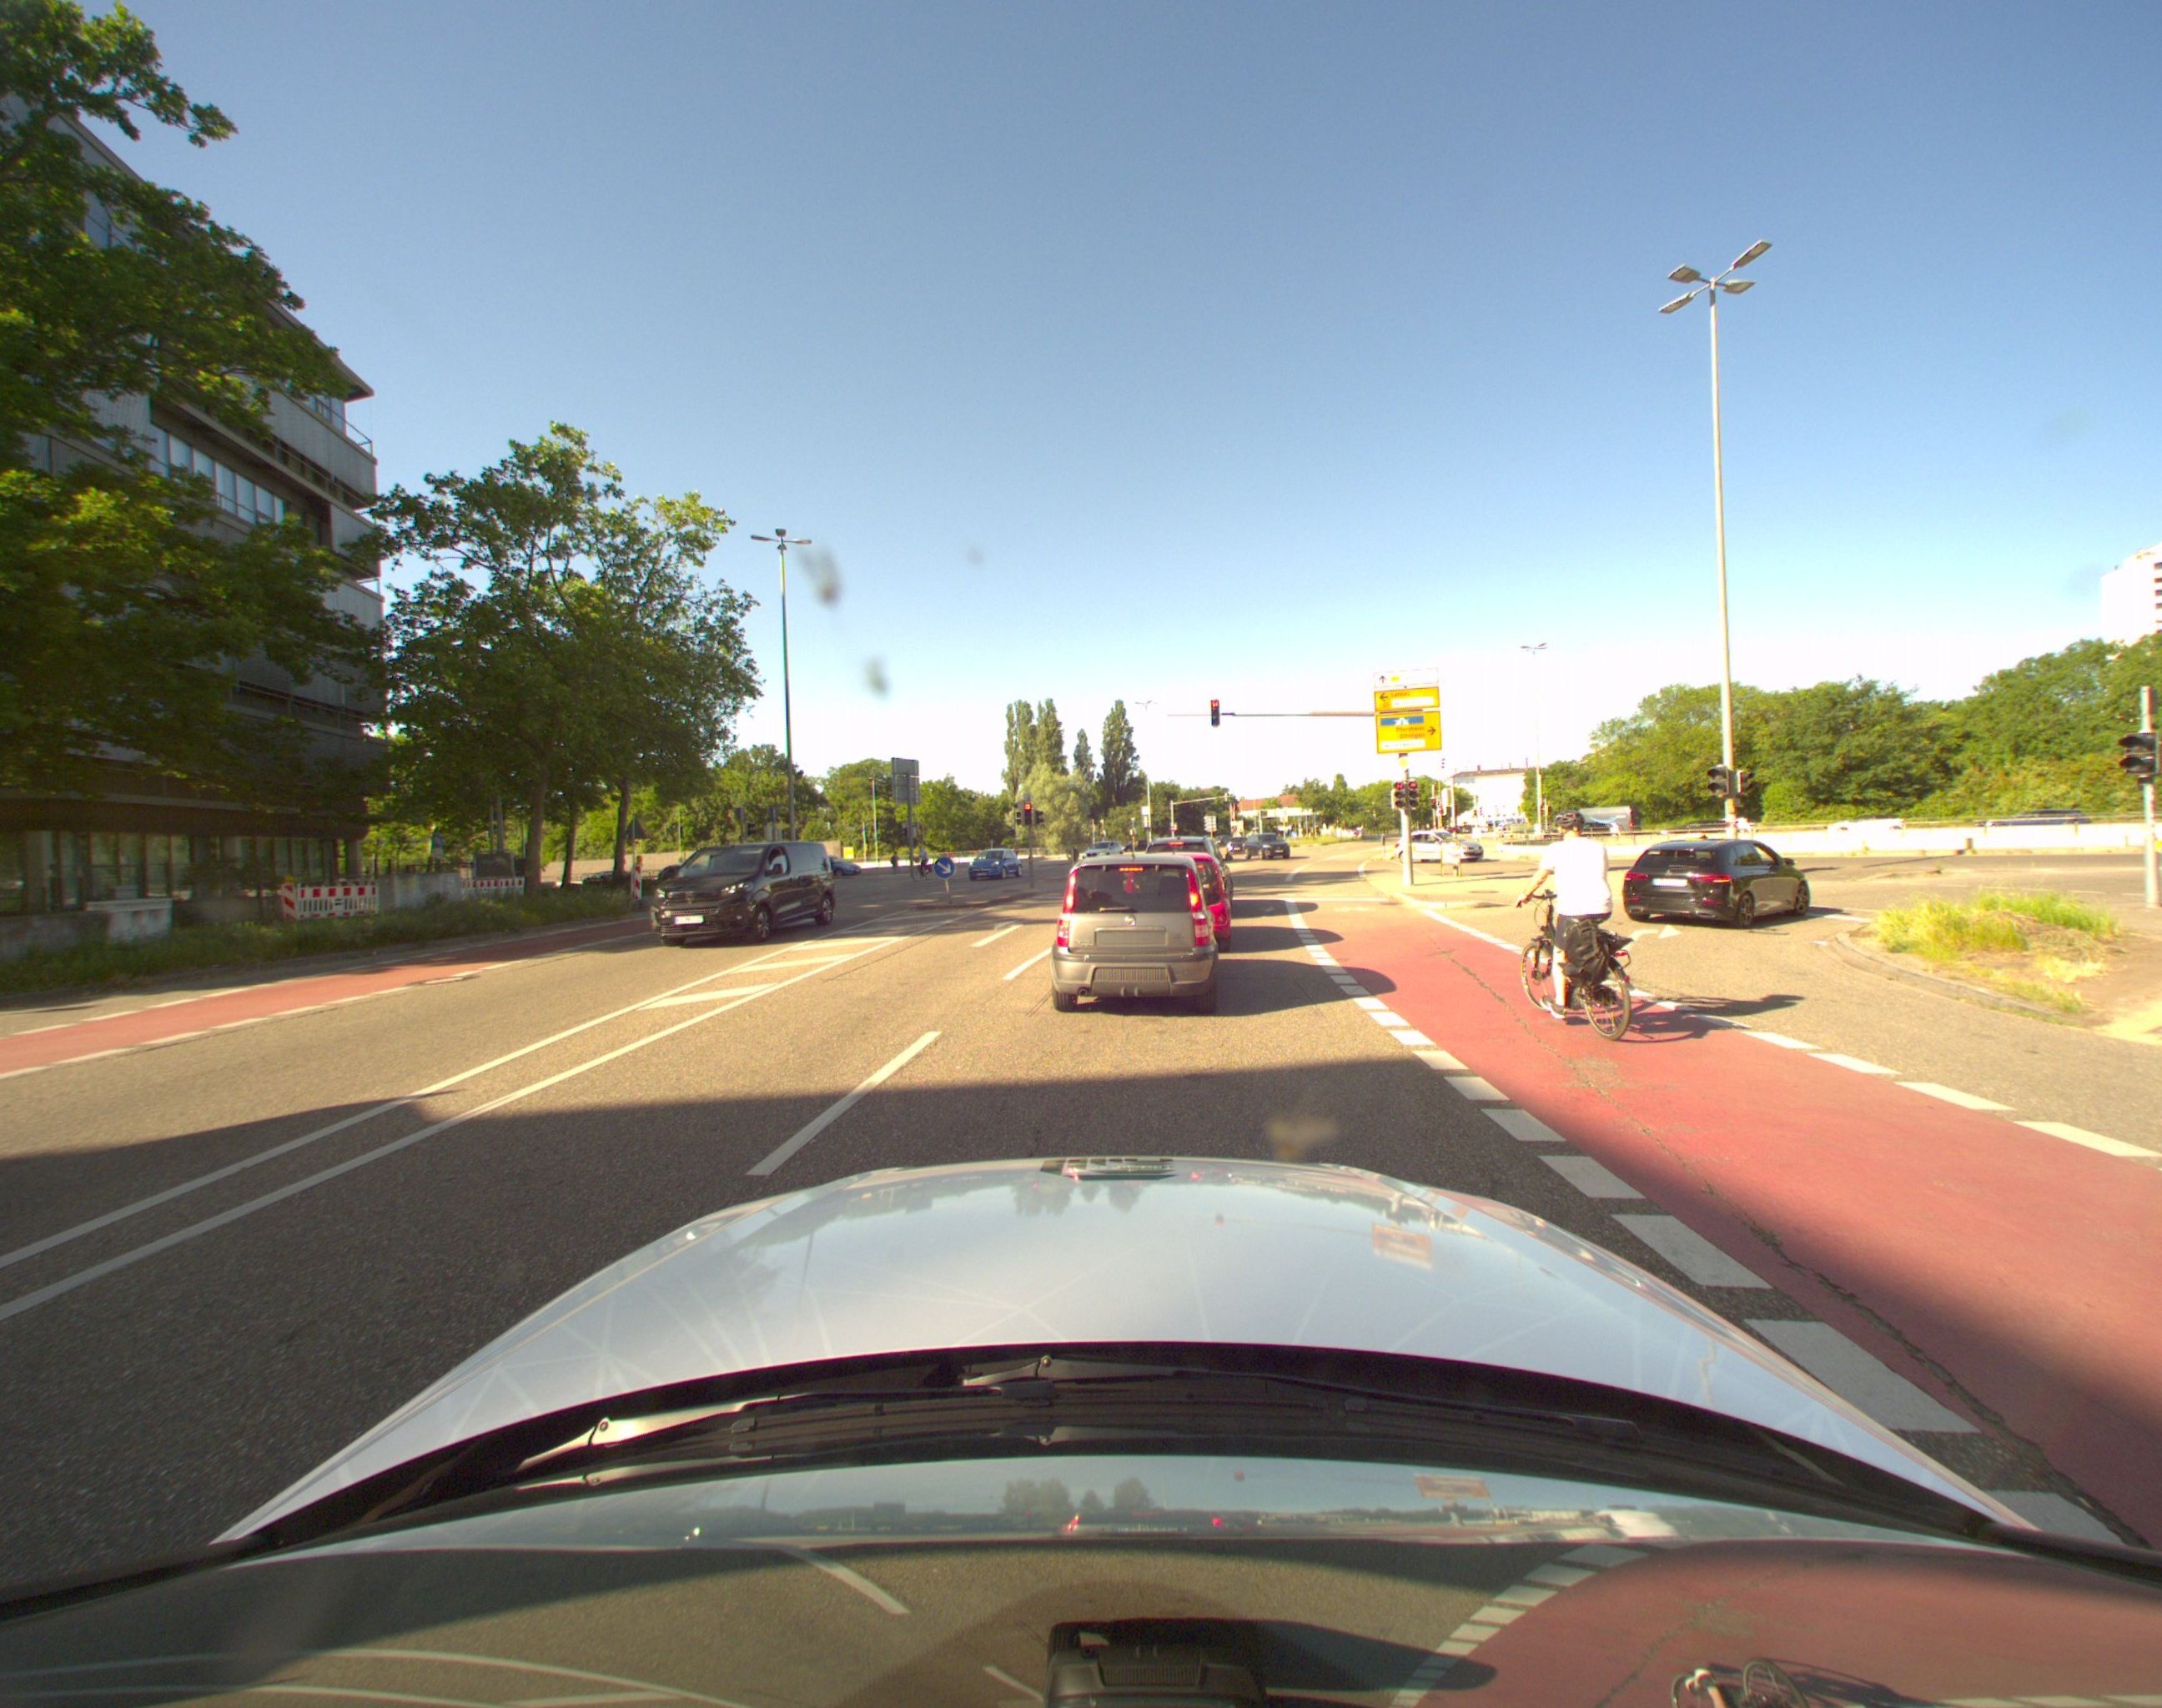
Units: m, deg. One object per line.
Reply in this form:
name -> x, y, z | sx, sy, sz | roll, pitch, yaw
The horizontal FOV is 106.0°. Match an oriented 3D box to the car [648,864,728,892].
car -> -23.249, 1.404, 48.147 | 4.395, 1.438, 1.837 | -3, 1, 26

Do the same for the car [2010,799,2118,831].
car -> 61.163, -2.396, 50.779 | 3.948, 1.662, 2.012 | -3, -2, 40

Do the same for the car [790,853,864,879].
car -> -16.945, 0.805, 54.298 | 4.399, 1.438, 1.835 | -3, 1, 20

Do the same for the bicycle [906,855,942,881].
bicycle -> -8.001, 0.716, 41.528 | 0.681, 1.202, 2.338 | -2, 1, 18

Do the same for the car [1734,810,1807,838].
car -> 50.584, -2.145, 59.774 | 3.949, 1.750, 2.012 | -3, -2, 42

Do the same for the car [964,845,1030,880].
car -> -4.066, 0.380, 40.238 | 1.807, 1.503, 4.468 | -3, 1, 13

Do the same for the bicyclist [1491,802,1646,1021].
bicyclist -> 4.098, 0.451, 6.943 | 0.794, 1.705, 1.088 | -1, 0, 11

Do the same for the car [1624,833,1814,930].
car -> 11.859, 0.409, 15.060 | 4.018, 1.493, 1.737 | -2, 2, -36

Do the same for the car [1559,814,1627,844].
car -> 38.539, -1.830, 61.323 | 3.949, 2.014, 2.012 | -3, -2, 42

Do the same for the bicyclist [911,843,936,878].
bicyclist -> -8.019, 0.315, 41.529 | 0.681, 1.701, 1.204 | -2, 0, 18

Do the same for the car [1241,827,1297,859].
car -> 11.951, -0.685, 52.066 | 1.992, 1.836, 4.347 | -1, -2, -8

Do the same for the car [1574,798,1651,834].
car -> 43.890, -3.076, 67.333 | 2.272, 2.607, 4.830 | 0, -2, -38

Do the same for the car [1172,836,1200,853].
car -> 10.145, -0.890, 78.269 | 1.671, 1.457, 3.934 | -3, -2, 21

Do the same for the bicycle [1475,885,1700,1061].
bicycle -> 4.088, 0.870, 6.855 | 0.794, 1.111, 2.409 | -1, 0, 11

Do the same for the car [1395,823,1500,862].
car -> 16.810, -0.508, 37.548 | 1.831, 1.582, 4.064 | -3, 1, -30

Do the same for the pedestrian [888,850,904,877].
pedestrian -> -11.421, 0.591, 50.299 | 0.684, 1.538, 1.366 | -1, -4, 2

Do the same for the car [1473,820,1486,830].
car -> 75.708, -5.543, 154.806 | 1.974, 1.793, 4.025 | -3, 0, 29

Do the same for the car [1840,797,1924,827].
car -> 54.837, -2.830, 55.834 | 3.949, 1.684, 1.868 | -3, -2, 42

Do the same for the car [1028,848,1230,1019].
car -> 0.683, 0.692, 9.318 | 1.810, 1.489, 4.009 | 0, 1, 7

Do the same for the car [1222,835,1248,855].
car -> 12.809, -0.751, 67.560 | 1.980, 1.453, 4.014 | -2, -2, 13

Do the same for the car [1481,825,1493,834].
car -> 86.075, -5.227, 172.617 | 1.974, 1.640, 4.026 | -3, 0, 32

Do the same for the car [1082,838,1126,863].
car -> 1.723, -0.285, 59.228 | 1.819, 1.653, 4.651 | -3, 1, 19

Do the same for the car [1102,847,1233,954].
car -> 1.494, 0.652, 13.572 | 1.810, 1.479, 4.009 | -2, 0, 8

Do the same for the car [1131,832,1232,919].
car -> 2.473, 0.403, 18.976 | 1.856, 1.790, 4.430 | -1, 1, 13

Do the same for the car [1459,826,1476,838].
car -> 65.517, -3.657, 138.075 | 1.974, 1.794, 4.025 | -2, -2, 33

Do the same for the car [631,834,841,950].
car -> -6.723, 0.632, 16.606 | 1.986, 1.935, 4.854 | -3, 1, 2
